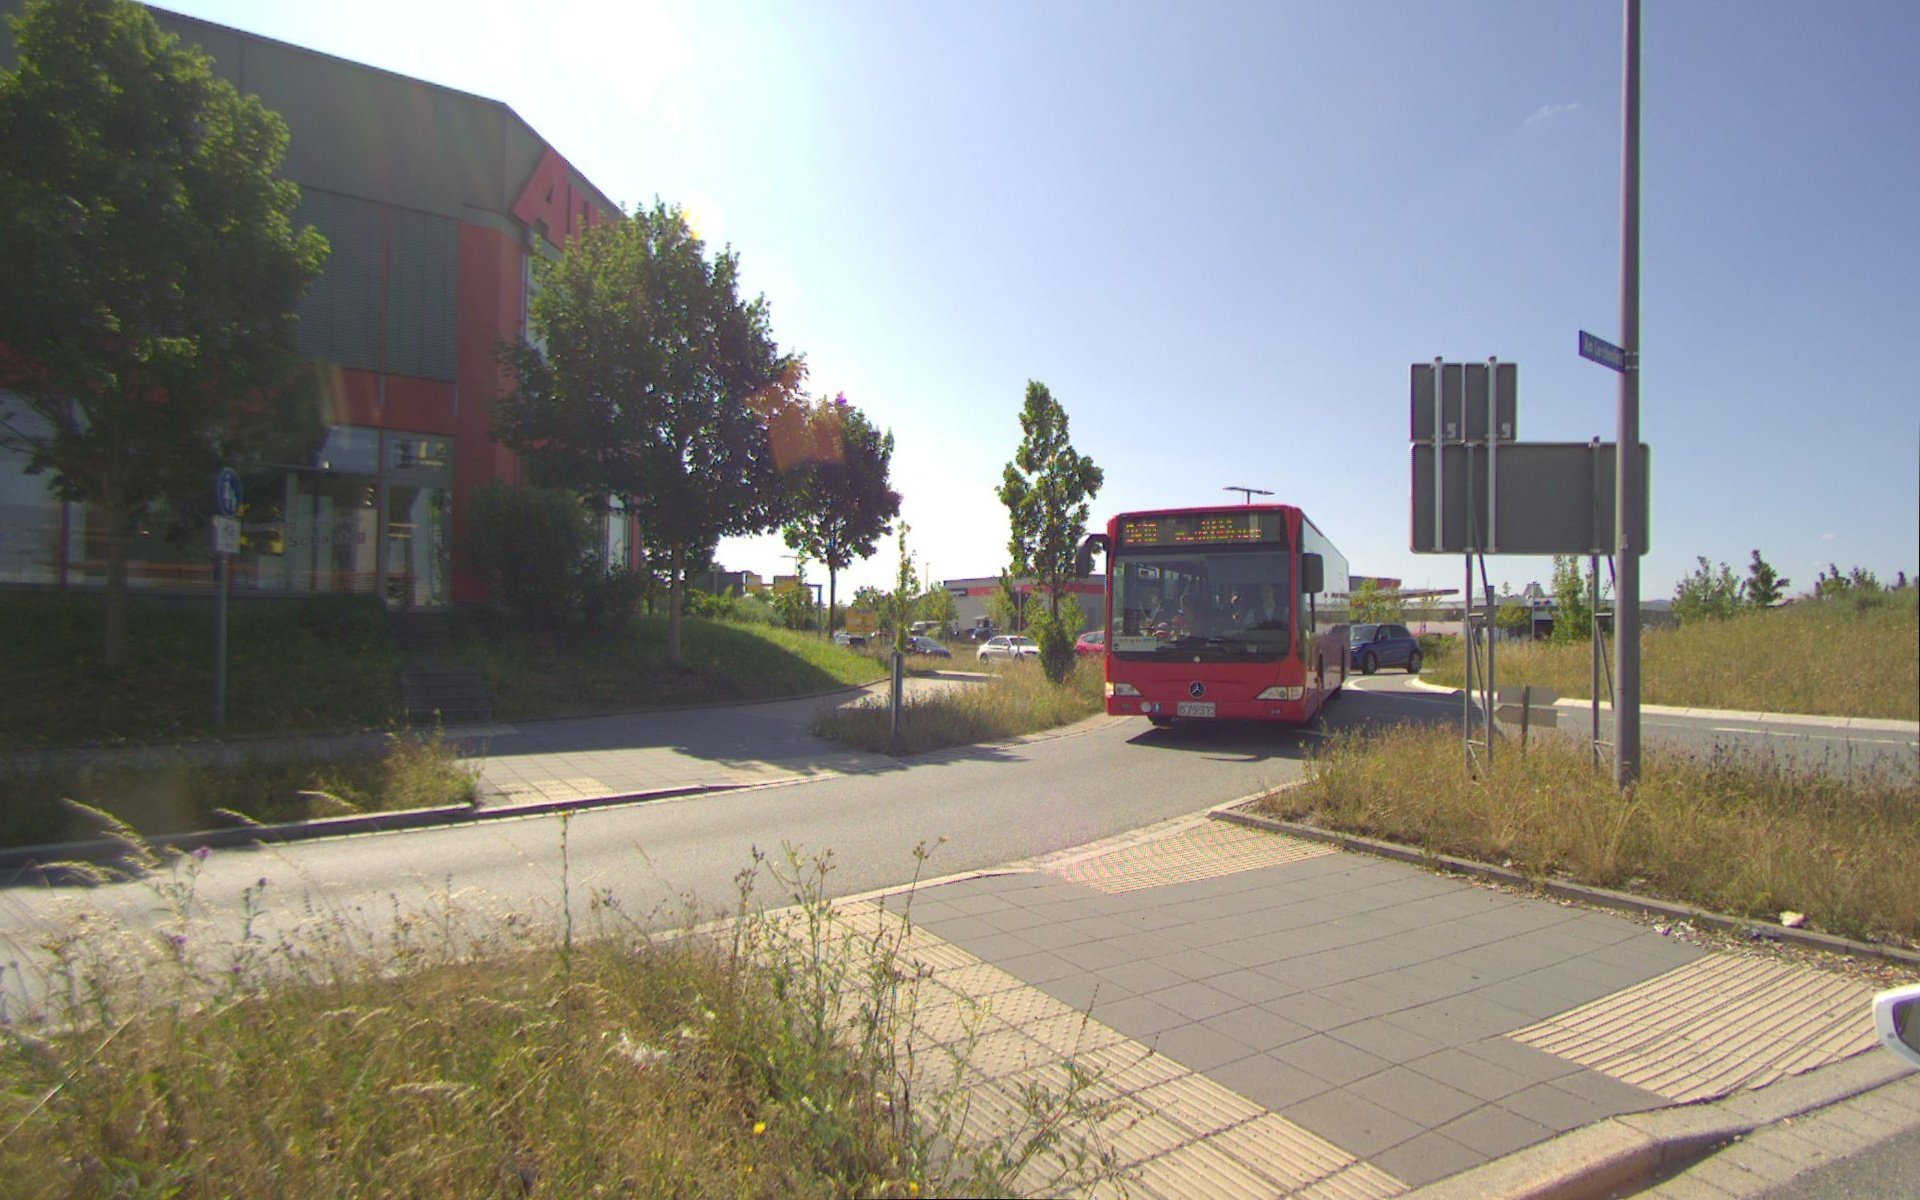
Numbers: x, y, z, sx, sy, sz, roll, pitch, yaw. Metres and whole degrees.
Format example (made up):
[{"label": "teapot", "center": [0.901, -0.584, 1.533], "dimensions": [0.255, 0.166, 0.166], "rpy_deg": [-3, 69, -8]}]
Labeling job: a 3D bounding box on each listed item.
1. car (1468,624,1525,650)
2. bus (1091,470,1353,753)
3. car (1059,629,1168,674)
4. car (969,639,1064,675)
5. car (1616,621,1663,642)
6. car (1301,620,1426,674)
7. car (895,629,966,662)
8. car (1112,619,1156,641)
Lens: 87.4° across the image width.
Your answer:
[{"label": "car", "center": [44.023, 3.017, 82.384], "dimensions": [5.083, 2.040, 1.981], "rpy_deg": [2, -2, -34]}, {"label": "bus", "center": [5.231, 0.310, 17.623], "dimensions": [2.568, 3.284, 11.875], "rpy_deg": [-2, -2, 23]}, {"label": "car", "center": [5.391, 1.791, 35.815], "dimensions": [1.785, 1.434, 4.089], "rpy_deg": [-2, -1, -27]}, {"label": "car", "center": [2.352, 2.415, 42.854], "dimensions": [1.779, 1.434, 4.342], "rpy_deg": [2, -3, -33]}, {"label": "car", "center": [58.544, 2.712, 86.566], "dimensions": [3.957, 1.754, 1.982], "rpy_deg": [2, -2, -33]}, {"label": "car", "center": [13.140, 1.505, 32.675], "dimensions": [4.038, 1.657, 1.840], "rpy_deg": [1, -2, -35]}, {"label": "car", "center": [-1.501, 2.214, 49.735], "dimensions": [1.628, 1.507, 3.866], "rpy_deg": [0, -1, -35]}, {"label": "car", "center": [16.764, 2.874, 96.572], "dimensions": [3.960, 2.040, 1.981], "rpy_deg": [2, -2, -35]}]
